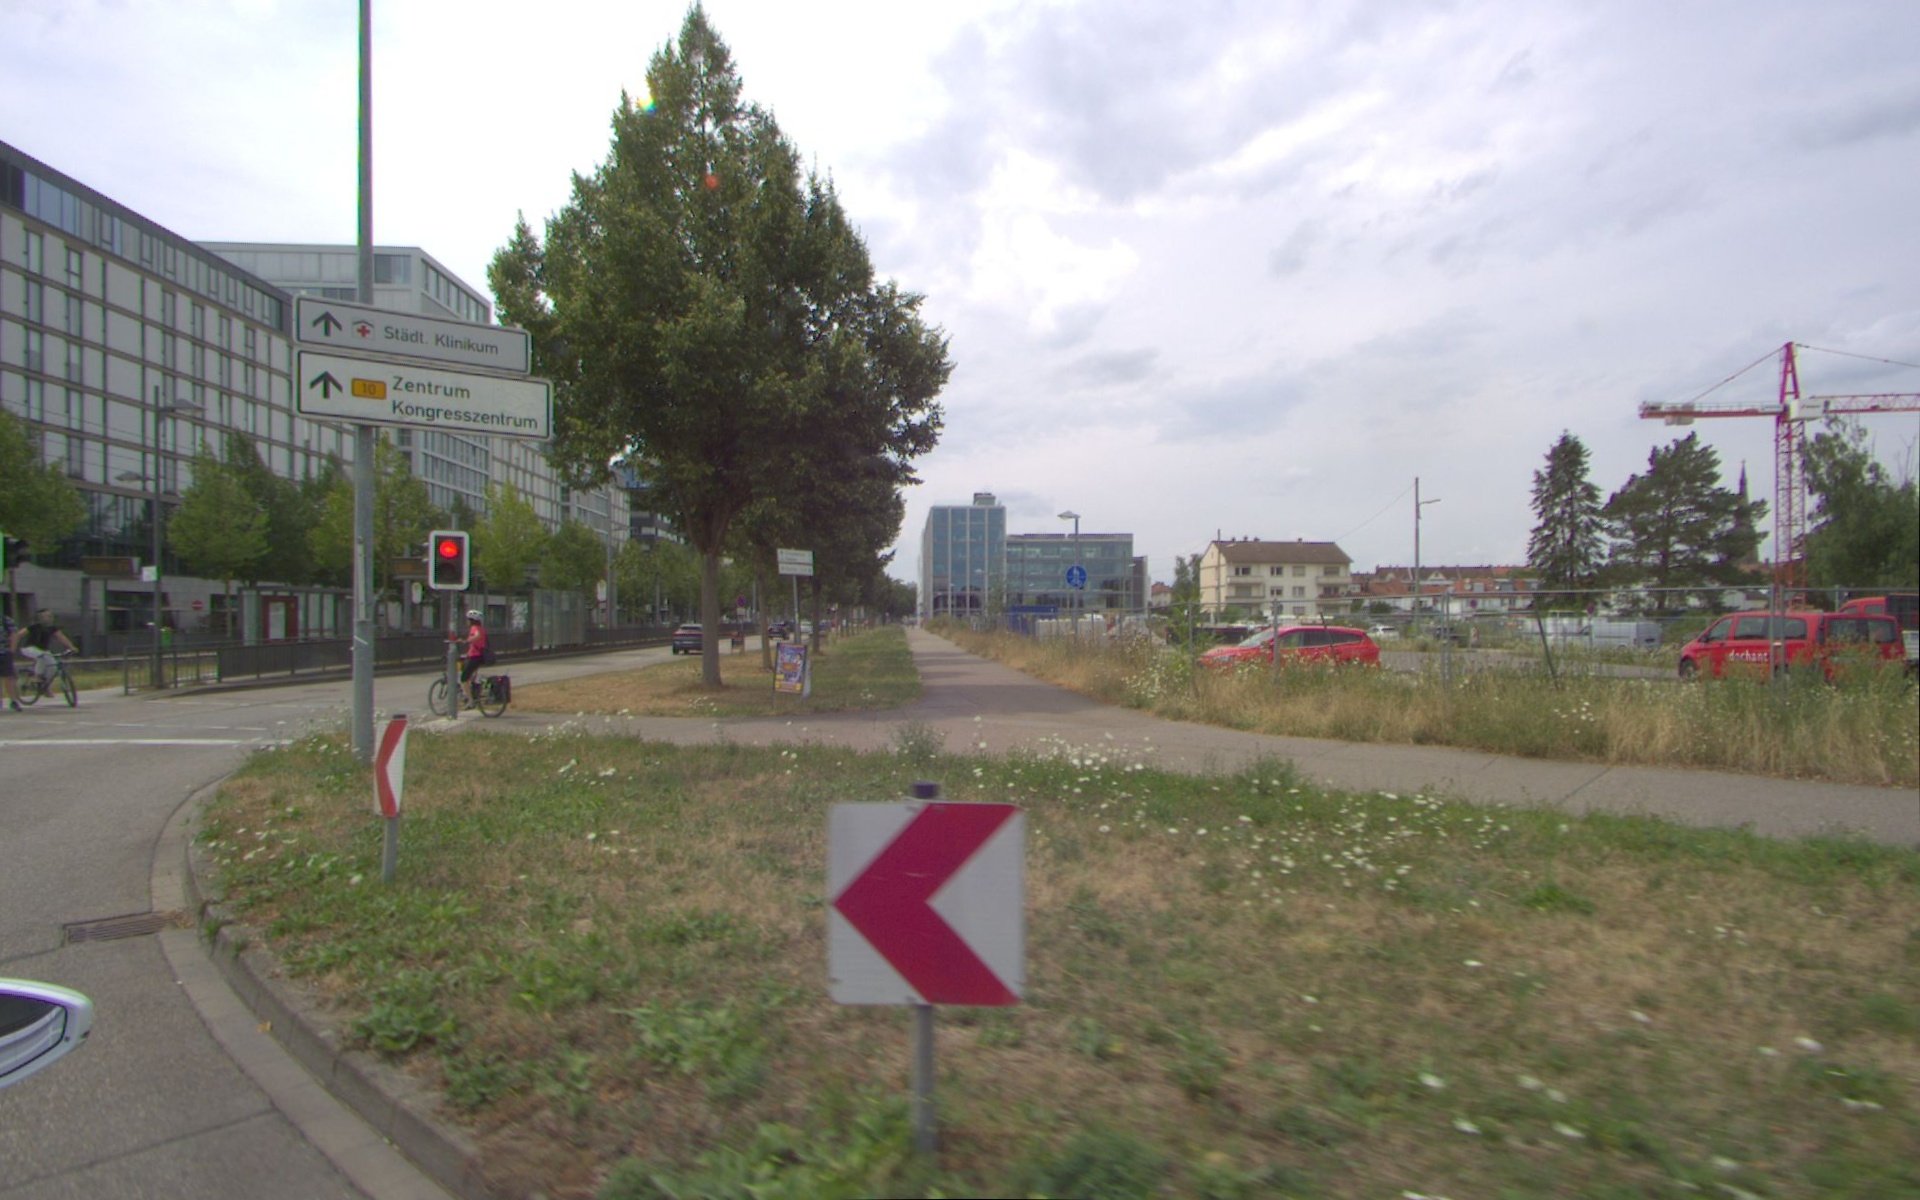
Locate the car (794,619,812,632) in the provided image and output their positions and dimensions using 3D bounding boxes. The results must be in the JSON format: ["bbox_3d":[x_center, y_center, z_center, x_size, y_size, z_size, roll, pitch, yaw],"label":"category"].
[{"bbox_3d":[-17.917,2.896,114.385,1.795,1.481,4.260,1,-1,-5],"label":"car"}]

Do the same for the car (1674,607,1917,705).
[{"bbox_3d":[19.031,1.208,23.182,1.899,1.935,4.988,3,-1,8],"label":"car"}]

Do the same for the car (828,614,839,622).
[{"bbox_3d":[-24.497,3.487,194.264,1.961,1.639,4.753,0,-1,-4],"label":"car"}]

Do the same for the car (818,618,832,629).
[{"bbox_3d":[-19.068,3.352,141.181,1.767,1.516,4.117,1,-1,-5],"label":"car"}]

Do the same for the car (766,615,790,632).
[{"bbox_3d":[-16.461,2.121,90.504,1.707,1.538,4.147,1,-1,-5],"label":"car"}]

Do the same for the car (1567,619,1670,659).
[{"bbox_3d":[37.100,2.157,56.580,2.107,2.164,4.907,0,-1,-10],"label":"car"}]

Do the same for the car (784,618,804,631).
[{"bbox_3d":[-20.577,3.035,124.055,1.699,1.554,4.373,1,-1,0],"label":"car"}]

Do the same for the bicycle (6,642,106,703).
[{"bbox_3d":[-16.942,1.345,18.764,1.681,1.072,0.548,0,-1,15],"label":"bicycle"}]

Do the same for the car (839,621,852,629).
[{"bbox_3d":[-21.808,4.766,191.188,1.961,1.639,4.753,0,-1,-1],"label":"car"}]

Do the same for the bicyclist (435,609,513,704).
[{"bbox_3d":[-8.670,0.986,17.885,1.032,1.648,0.789,0,0,26],"label":"bicyclist"}]

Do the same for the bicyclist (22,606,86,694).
[{"bbox_3d":[-16.990,0.930,18.788,0.751,1.601,0.560,0,-1,15],"label":"bicyclist"}]

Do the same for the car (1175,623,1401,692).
[{"bbox_3d":[8.016,1.378,24.630,5.042,1.625,1.788,0,-1,-10],"label":"car"}]

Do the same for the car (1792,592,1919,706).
[{"bbox_3d":[21.929,1.076,22.256,2.274,2.443,6.541,0,-1,9],"label":"car"}]

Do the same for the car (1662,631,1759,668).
[{"bbox_3d":[38.048,2.494,50.888,1.821,1.771,4.014,0,-1,-2],"label":"car"}]

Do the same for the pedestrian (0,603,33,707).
[{"bbox_3d":[-16.746,0.951,17.492,0.542,1.804,0.580,1,-1,-9],"label":"pedestrian"}]

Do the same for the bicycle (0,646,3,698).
[{"bbox_3d":[-19.530,1.379,19.100,1.724,1.020,0.653,1,-1,-13],"label":"bicycle"}]

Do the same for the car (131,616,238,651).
[{"bbox_3d":[-35.345,1.511,45.770,1.813,1.477,4.001,1,-1,-1],"label":"car"}]

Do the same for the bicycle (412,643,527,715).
[{"bbox_3d":[-8.797,1.393,17.947,2.008,1.183,0.789,0,0,26],"label":"bicycle"}]

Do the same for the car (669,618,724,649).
[{"bbox_3d":[-14.124,1.781,53.921,2.024,1.571,4.475,1,-1,-4],"label":"car"}]
